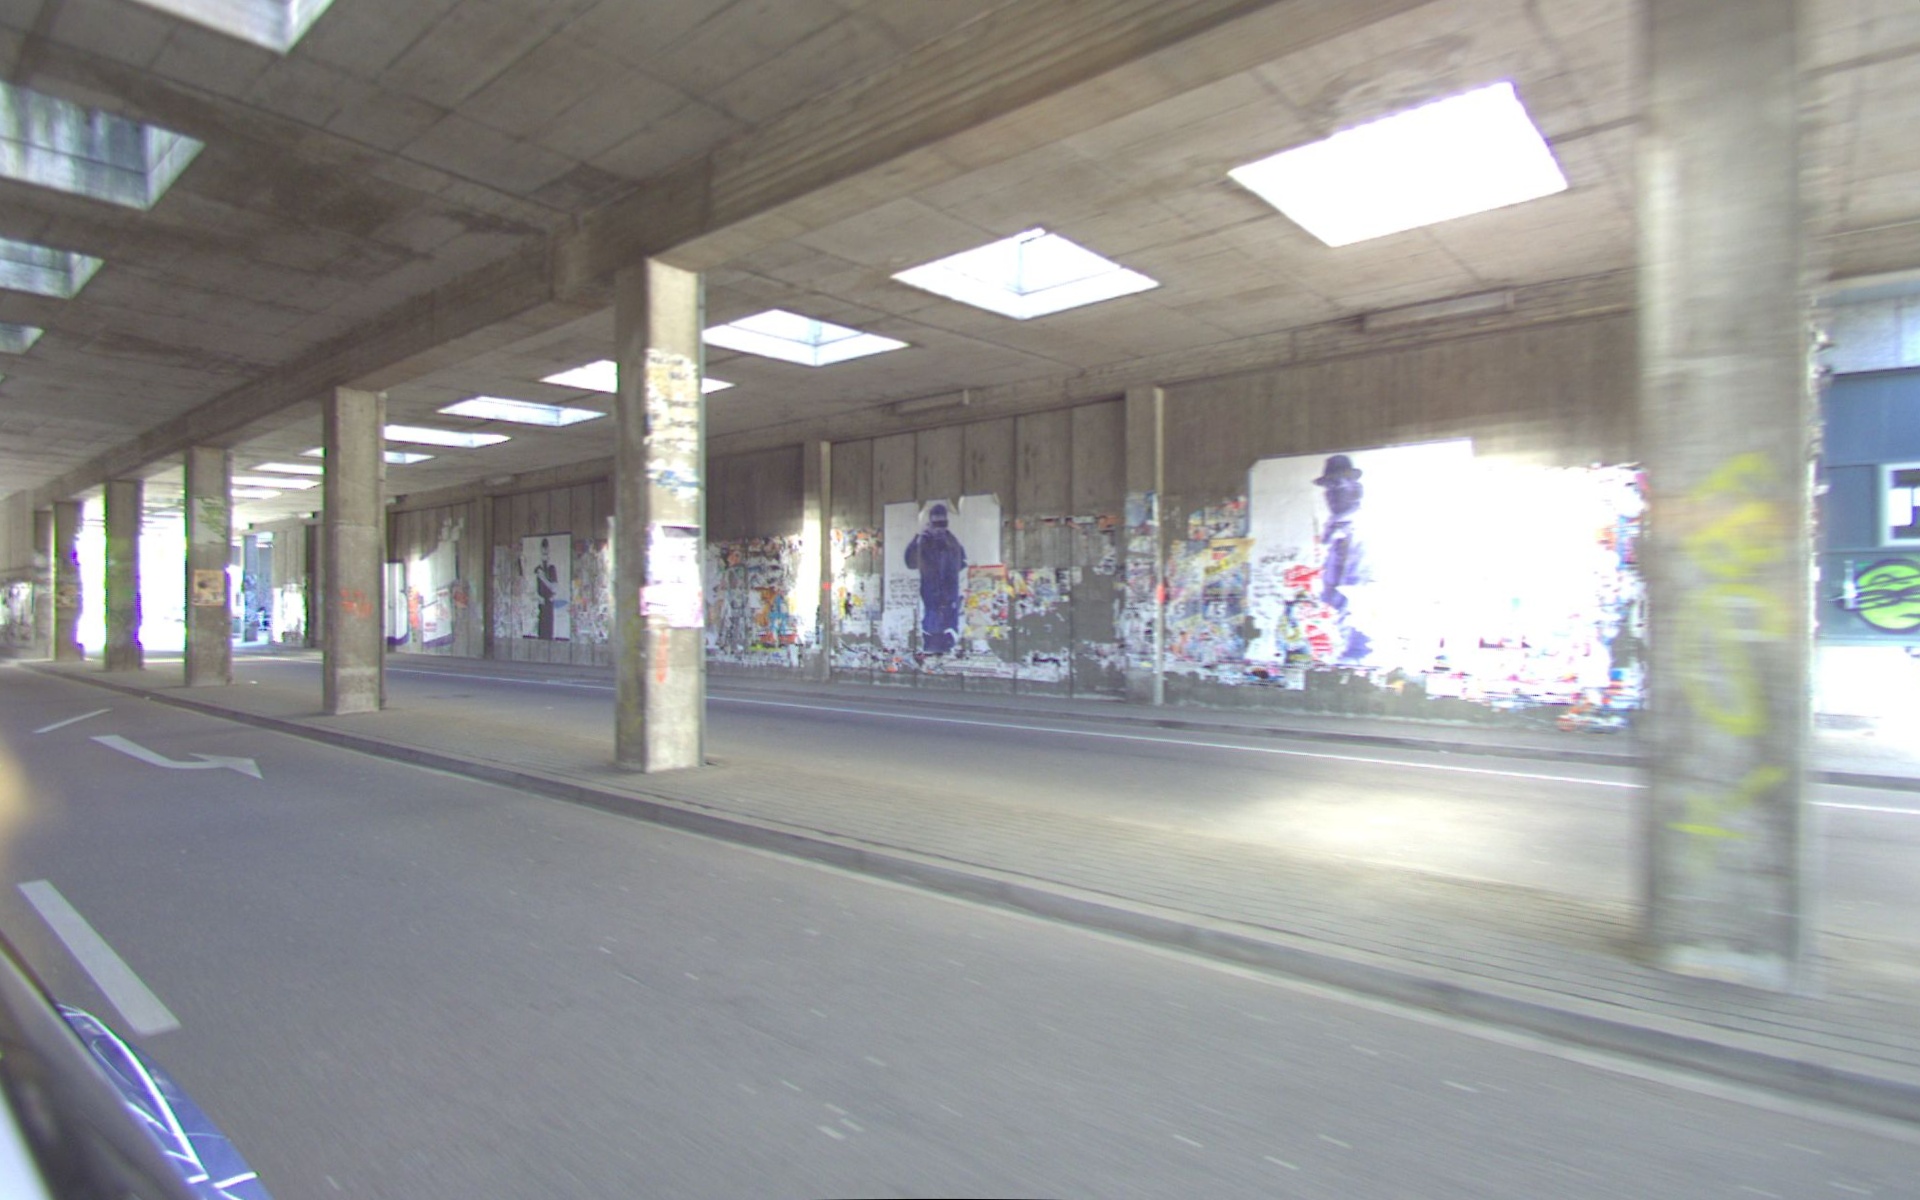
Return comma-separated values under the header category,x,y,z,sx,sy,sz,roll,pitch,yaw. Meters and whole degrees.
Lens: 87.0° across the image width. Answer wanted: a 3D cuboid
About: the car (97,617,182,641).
category,x,y,z,sx,sy,sz,roll,pitch,yaw
car,-52.858,1.850,65.220,1.831,1.405,3.950,0,0,37
